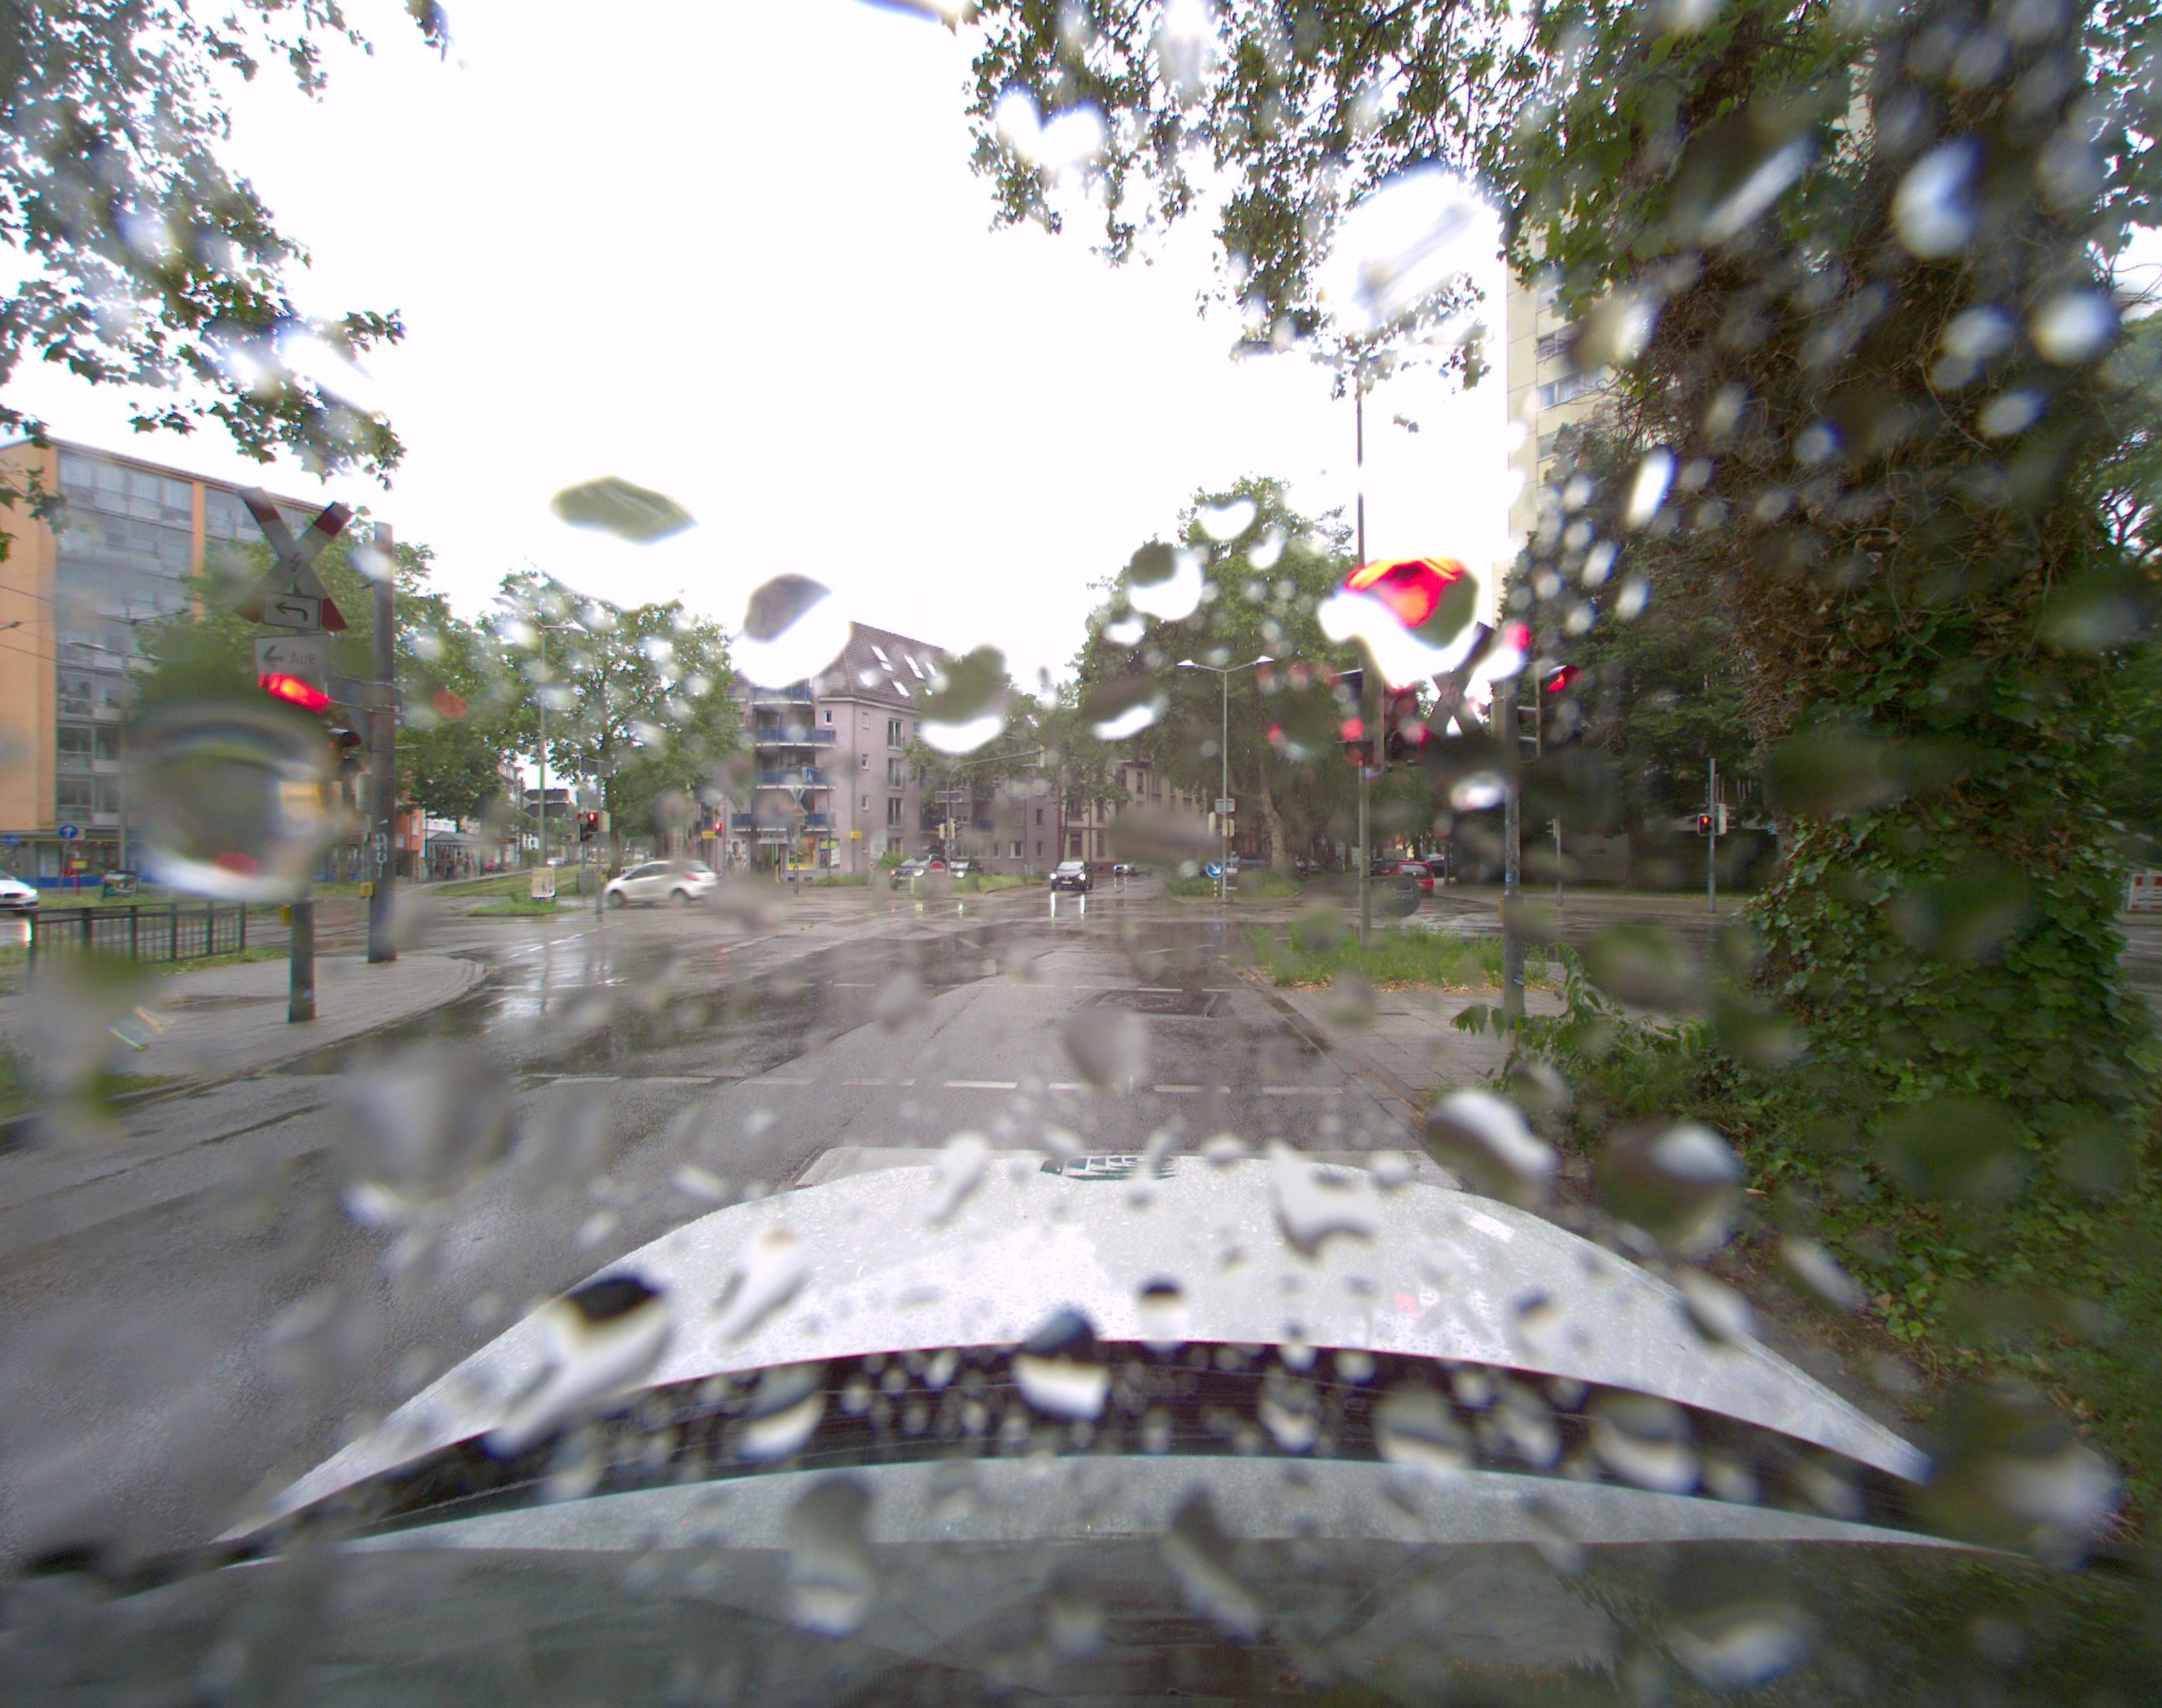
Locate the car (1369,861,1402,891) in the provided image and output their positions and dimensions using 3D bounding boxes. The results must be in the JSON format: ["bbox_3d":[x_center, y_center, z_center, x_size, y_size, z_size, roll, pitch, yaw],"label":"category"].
[{"bbox_3d":[22.131,1.557,59.323,1.977,2.013,4.019,-2,0,18],"label":"car"}]

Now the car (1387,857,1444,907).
[{"bbox_3d":[14.800,1.205,36.225,1.977,2.013,4.019,-2,0,18],"label":"car"}]

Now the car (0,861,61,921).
[{"bbox_3d":[-32.162,1.107,23.421,3.978,1.651,1.980,-2,0,13],"label":"car"}]

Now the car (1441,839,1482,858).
[{"bbox_3d":[42.550,-0.612,91.116,3.953,2.013,1.716,-2,0,21],"label":"car"}]

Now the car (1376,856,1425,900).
[{"bbox_3d":[15.858,1.166,40.642,1.977,2.013,4.019,-2,0,18],"label":"car"}]

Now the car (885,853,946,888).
[{"bbox_3d":[-7.859,0.741,39.063,1.715,1.552,3.567,-2,0,8],"label":"car"}]

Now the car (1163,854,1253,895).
[{"bbox_3d":[5.157,0.808,33.003,3.457,1.523,1.524,-2,0,10],"label":"car"}]

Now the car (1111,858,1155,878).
[{"bbox_3d":[4.597,1.218,71.438,1.660,1.552,4.225,-2,0,38],"label":"car"}]

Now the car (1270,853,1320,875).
[{"bbox_3d":[17.160,0.787,65.311,3.571,1.618,1.692,-2,0,30],"label":"car"}]

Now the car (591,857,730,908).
[{"bbox_3d":[-13.654,0.920,26.540,3.620,1.486,1.729,-2,0,8],"label":"car"}]

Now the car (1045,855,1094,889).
[{"bbox_3d":[-0.543,0.884,40.745,1.591,1.552,3.572,-2,0,13],"label":"car"}]

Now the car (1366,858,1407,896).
[{"bbox_3d":[17.813,1.296,47.591,1.977,2.013,4.019,-2,0,18],"label":"car"}]

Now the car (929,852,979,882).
[{"bbox_3d":[-7.002,0.707,45.159,1.715,1.552,3.567,-2,0,8],"label":"car"}]
